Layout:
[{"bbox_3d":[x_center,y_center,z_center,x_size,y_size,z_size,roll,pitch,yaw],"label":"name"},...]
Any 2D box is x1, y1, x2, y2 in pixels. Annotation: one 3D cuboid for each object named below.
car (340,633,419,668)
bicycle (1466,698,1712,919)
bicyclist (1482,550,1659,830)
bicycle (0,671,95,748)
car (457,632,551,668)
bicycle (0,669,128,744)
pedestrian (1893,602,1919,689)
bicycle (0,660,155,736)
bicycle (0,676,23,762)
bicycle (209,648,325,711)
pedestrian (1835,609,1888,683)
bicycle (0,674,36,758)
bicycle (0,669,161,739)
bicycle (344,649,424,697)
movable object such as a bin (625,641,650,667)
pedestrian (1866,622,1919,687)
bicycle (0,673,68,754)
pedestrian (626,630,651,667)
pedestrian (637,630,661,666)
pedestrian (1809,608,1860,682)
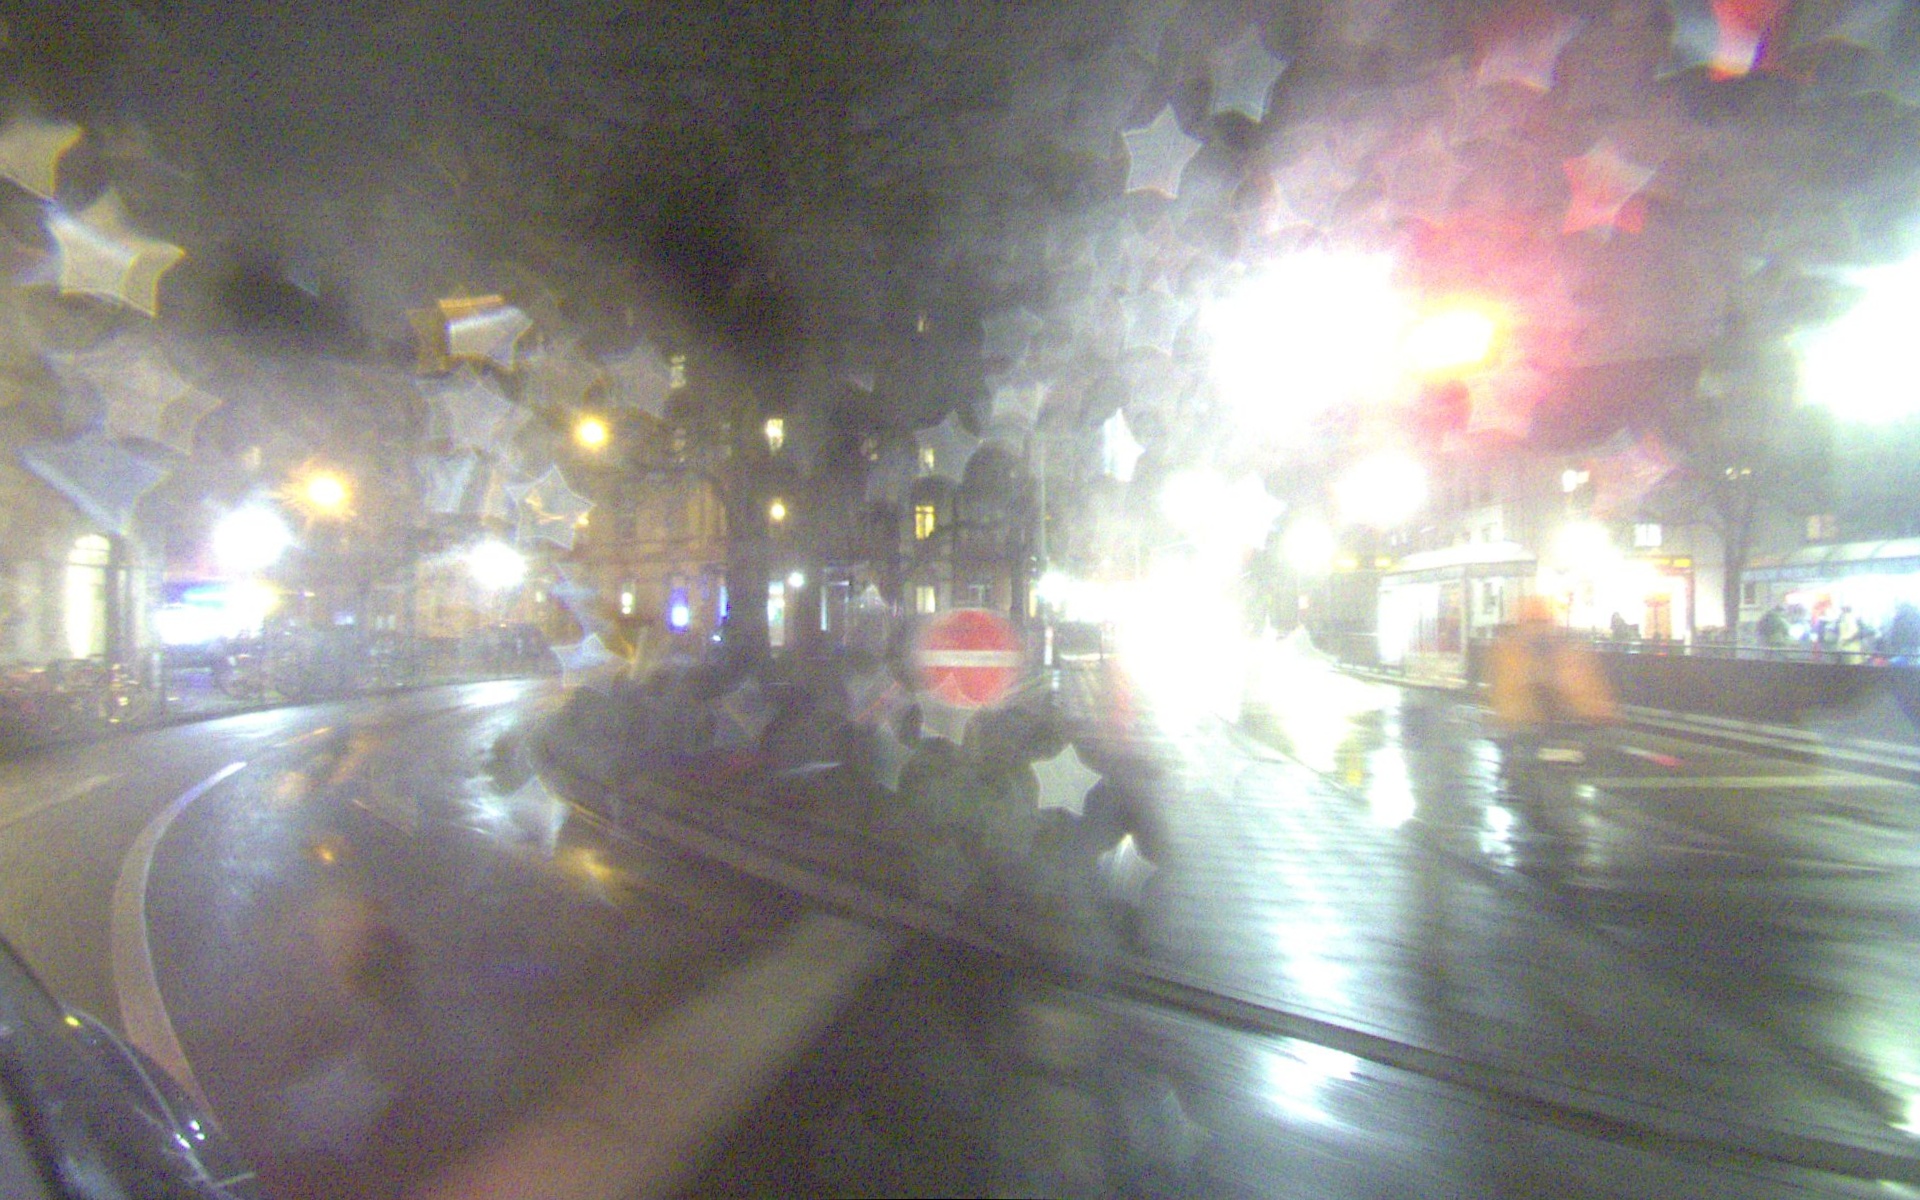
[{"bbox_3d":[-31.361,2.722,54.631,4.270,1.716,1.862,-2,-1,31],"label":"car"},{"bbox_3d":[3.677,1.166,6.103,0.566,0.976,1.775,-3,-1,9],"label":"bicycle"},{"bbox_3d":[3.652,0.520,6.121,0.566,1.559,0.813,-3,-1,10],"label":"bicyclist"},{"bbox_3d":[-13.285,1.513,14.002,1.943,1.014,0.643,0,-2,-8],"label":"bicycle"},{"bbox_3d":[-22.259,2.438,49.343,4.476,1.605,1.871,-2,-1,29],"label":"car"},{"bbox_3d":[-13.403,1.540,14.710,1.943,1.014,0.689,0,-2,-8],"label":"bicycle"},{"bbox_3d":[18.663,0.877,19.696,0.575,1.664,0.561,-2,-2,-37],"label":"pedestrian"},{"bbox_3d":[-14.038,1.537,16.031,1.902,1.123,0.731,0,-2,-8],"label":"bicycle"},{"bbox_3d":[-12.507,1.439,12.060,1.943,1.014,0.643,0,-2,-8],"label":"bicycle"},{"bbox_3d":[-14.341,1.633,20.983,1.845,1.226,0.731,0,-2,-8],"label":"bicycle"},{"bbox_3d":[19.162,0.969,21.507,0.472,1.540,0.588,-3,-1,-12],"label":"pedestrian"},{"bbox_3d":[-12.895,1.461,12.656,1.943,1.014,0.643,0,-2,-8],"label":"bicycle"},{"bbox_3d":[-13.568,1.579,15.556,1.902,0.995,0.731,0,-2,-8],"label":"bicycle"},{"bbox_3d":[-14.099,1.784,24.804,1.599,1.090,0.566,-1,1,-9],"label":"bicycle"},{"bbox_3d":[-15.267,2.558,47.951,0.920,1.124,0.628,-4,-2,31],"label":"movable object such as a bin"},{"bbox_3d":[18.878,1.100,20.486,0.575,1.263,0.626,-2,-2,-37],"label":"pedestrian"},{"bbox_3d":[-13.045,1.486,13.292,1.943,1.014,0.643,0,-2,-8],"label":"bicycle"},{"bbox_3d":[-14.899,2.258,46.950,0.871,1.650,0.628,-4,-2,30],"label":"pedestrian"},{"bbox_3d":[-14.596,2.253,47.531,0.840,1.650,0.628,-4,-2,31],"label":"pedestrian"},{"bbox_3d":[19.075,0.972,22.079,0.503,1.559,0.576,-3,-1,-12],"label":"pedestrian"}]
